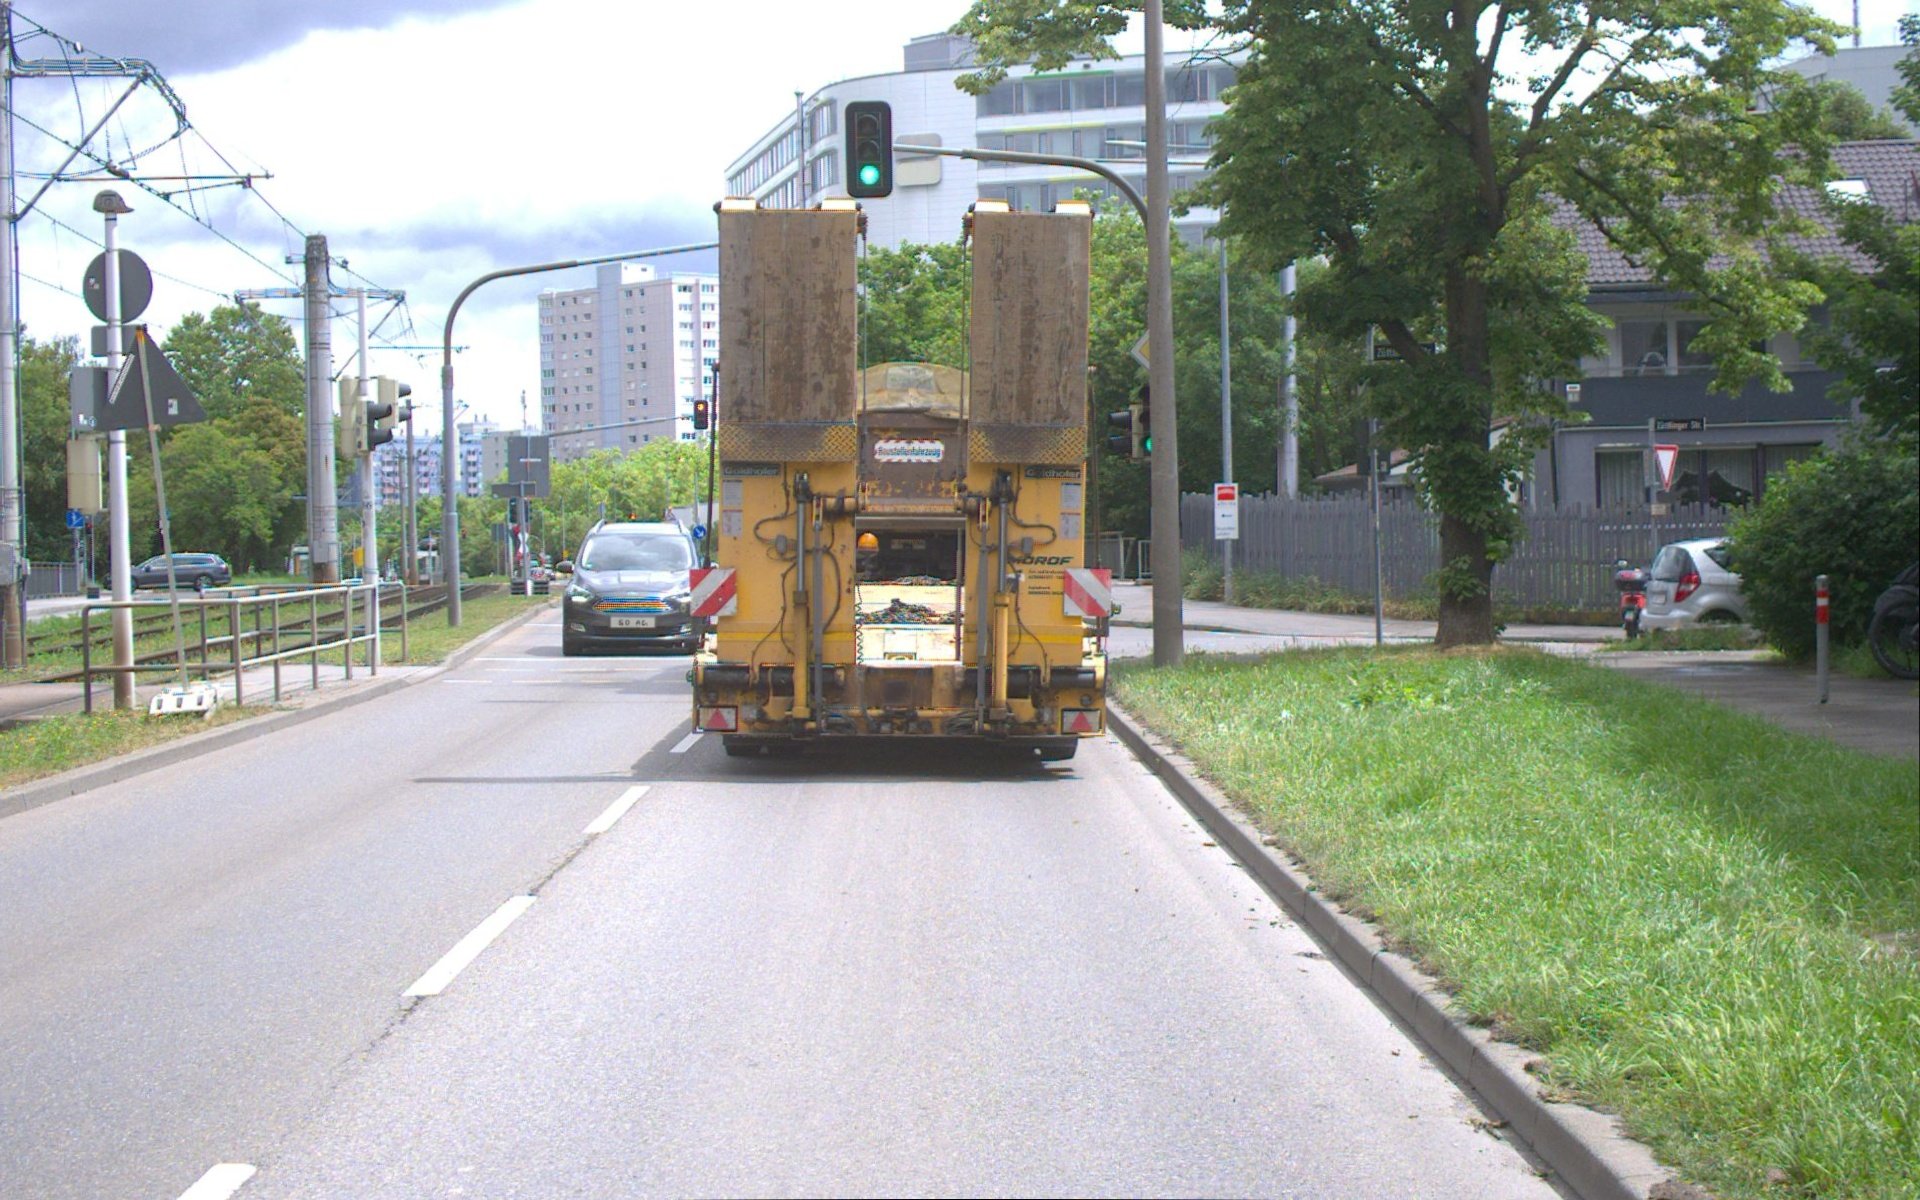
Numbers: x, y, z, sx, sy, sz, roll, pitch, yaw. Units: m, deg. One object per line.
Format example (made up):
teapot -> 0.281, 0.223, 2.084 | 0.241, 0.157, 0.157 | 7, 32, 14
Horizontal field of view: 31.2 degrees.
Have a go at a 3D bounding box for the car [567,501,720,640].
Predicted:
car -> -3.983, -0.401, 43.778 | 1.707, 1.670, 4.229 | 1, 1, -2

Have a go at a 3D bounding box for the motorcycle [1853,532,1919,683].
motorcycle -> 8.800, 0.047, 29.336 | 2.205, 1.278, 0.680 | -1, 0, 8

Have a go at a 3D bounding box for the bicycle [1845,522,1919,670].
bicycle -> 8.895, -0.048, 30.043 | 2.167, 1.278, 0.680 | -1, 0, 8

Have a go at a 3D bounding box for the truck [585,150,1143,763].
truck -> -0.809, -0.928, 26.790 | 3.316, 3.638, 12.563 | 0, 1, -2

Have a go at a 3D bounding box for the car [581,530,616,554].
car -> -21.921, -3.496, 208.603 | 1.993, 1.415, 4.001 | 1, 1, -7

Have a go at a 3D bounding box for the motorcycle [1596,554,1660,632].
motorcycle -> 10.202, -0.117, 52.458 | 0.659, 1.145, 2.422 | 1, 1, 18

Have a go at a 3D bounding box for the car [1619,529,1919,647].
car -> 11.199, -0.184, 46.669 | 3.986, 1.548, 1.940 | 0, 1, -8

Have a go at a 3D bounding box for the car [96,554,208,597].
car -> -30.534, -0.936, 130.029 | 3.986, 1.546, 2.001 | 1, 1, -10
